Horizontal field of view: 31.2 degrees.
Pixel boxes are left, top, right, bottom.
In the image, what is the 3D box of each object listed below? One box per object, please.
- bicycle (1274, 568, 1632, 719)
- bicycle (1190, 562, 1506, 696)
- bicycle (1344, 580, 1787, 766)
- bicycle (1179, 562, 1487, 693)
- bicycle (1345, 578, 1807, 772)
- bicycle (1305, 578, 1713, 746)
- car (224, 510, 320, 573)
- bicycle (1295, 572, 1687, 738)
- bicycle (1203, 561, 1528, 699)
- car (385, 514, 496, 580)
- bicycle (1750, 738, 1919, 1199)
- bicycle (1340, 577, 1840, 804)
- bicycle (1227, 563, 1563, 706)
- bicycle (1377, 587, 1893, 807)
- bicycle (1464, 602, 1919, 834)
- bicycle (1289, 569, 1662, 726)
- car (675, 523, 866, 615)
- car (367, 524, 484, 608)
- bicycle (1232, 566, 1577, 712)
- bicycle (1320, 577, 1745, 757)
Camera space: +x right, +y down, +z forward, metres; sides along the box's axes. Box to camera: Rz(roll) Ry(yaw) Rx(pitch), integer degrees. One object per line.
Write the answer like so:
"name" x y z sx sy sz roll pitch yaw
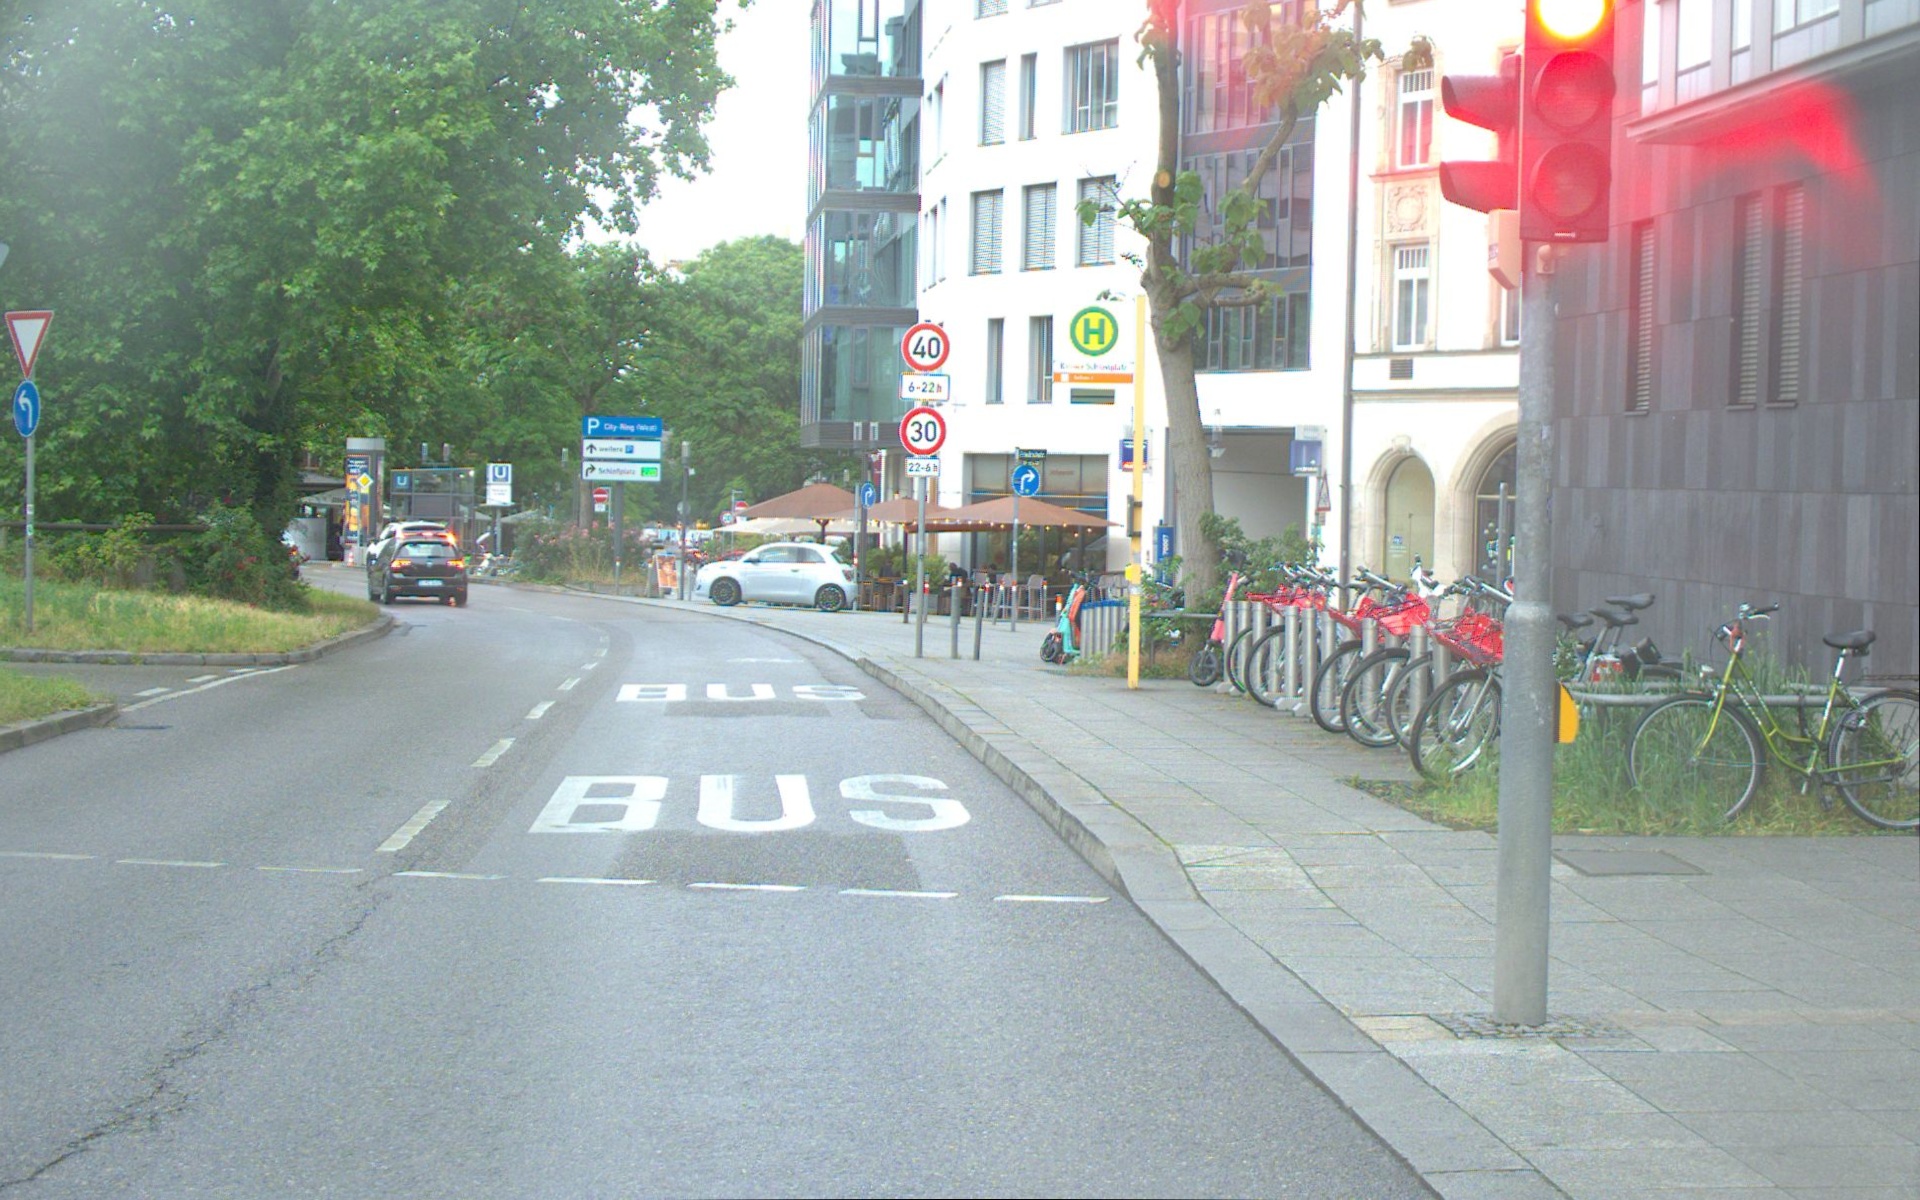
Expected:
"bicycle" 3.655 0.317 25.587 2.535 1.083 0.677 1 1 -5
"bicycle" 3.239 0.236 28.814 2.535 1.083 0.677 1 1 -5
"bicycle" 3.652 0.435 20.827 2.535 1.083 0.677 1 1 -5
"bicycle" 3.195 0.232 29.536 2.535 1.083 0.627 1 1 -5
"bicycle" 3.564 0.429 19.972 2.535 1.083 0.677 1 1 -5
"bicycle" 3.581 0.402 22.504 2.535 1.056 0.677 1 1 -5
"car" -19.093 -1.643 95.321 1.944 1.641 4.246 1 1 -20
"bicycle" 3.600 0.371 23.412 2.535 1.083 0.677 1 1 -5
"bicycle" 3.296 0.238 28.066 2.535 1.083 0.677 1 1 -5
"car" -14.153 -1.460 93.491 2.178 1.695 4.001 1 1 -21
"bicycle" 2.385 0.779 5.261 2.065 1.110 1.009 -1 -2 36
"bicycle" 3.419 0.486 18.747 2.535 1.083 0.677 3 1 -5
"bicycle" 3.430 0.267 27.178 2.535 1.083 0.677 1 1 -5
"bicycle" 3.506 0.498 17.943 2.535 1.083 0.677 1 1 -5
"bicycle" 3.750 0.560 16.467 2.535 1.053 0.677 1 1 -5
"bicycle" 3.678 0.336 24.609 2.535 1.083 0.677 1 1 -5
"car" -4.192 -0.691 76.530 3.987 1.641 2.000 6 1 1
"car" -11.621 -0.766 74.507 2.161 1.700 4.555 1 1 -13
"bicycle" 3.404 0.296 26.426 2.535 1.083 0.677 1 1 -5
"bicycle" 3.586 0.415 21.637 2.535 1.083 0.677 1 1 -5
